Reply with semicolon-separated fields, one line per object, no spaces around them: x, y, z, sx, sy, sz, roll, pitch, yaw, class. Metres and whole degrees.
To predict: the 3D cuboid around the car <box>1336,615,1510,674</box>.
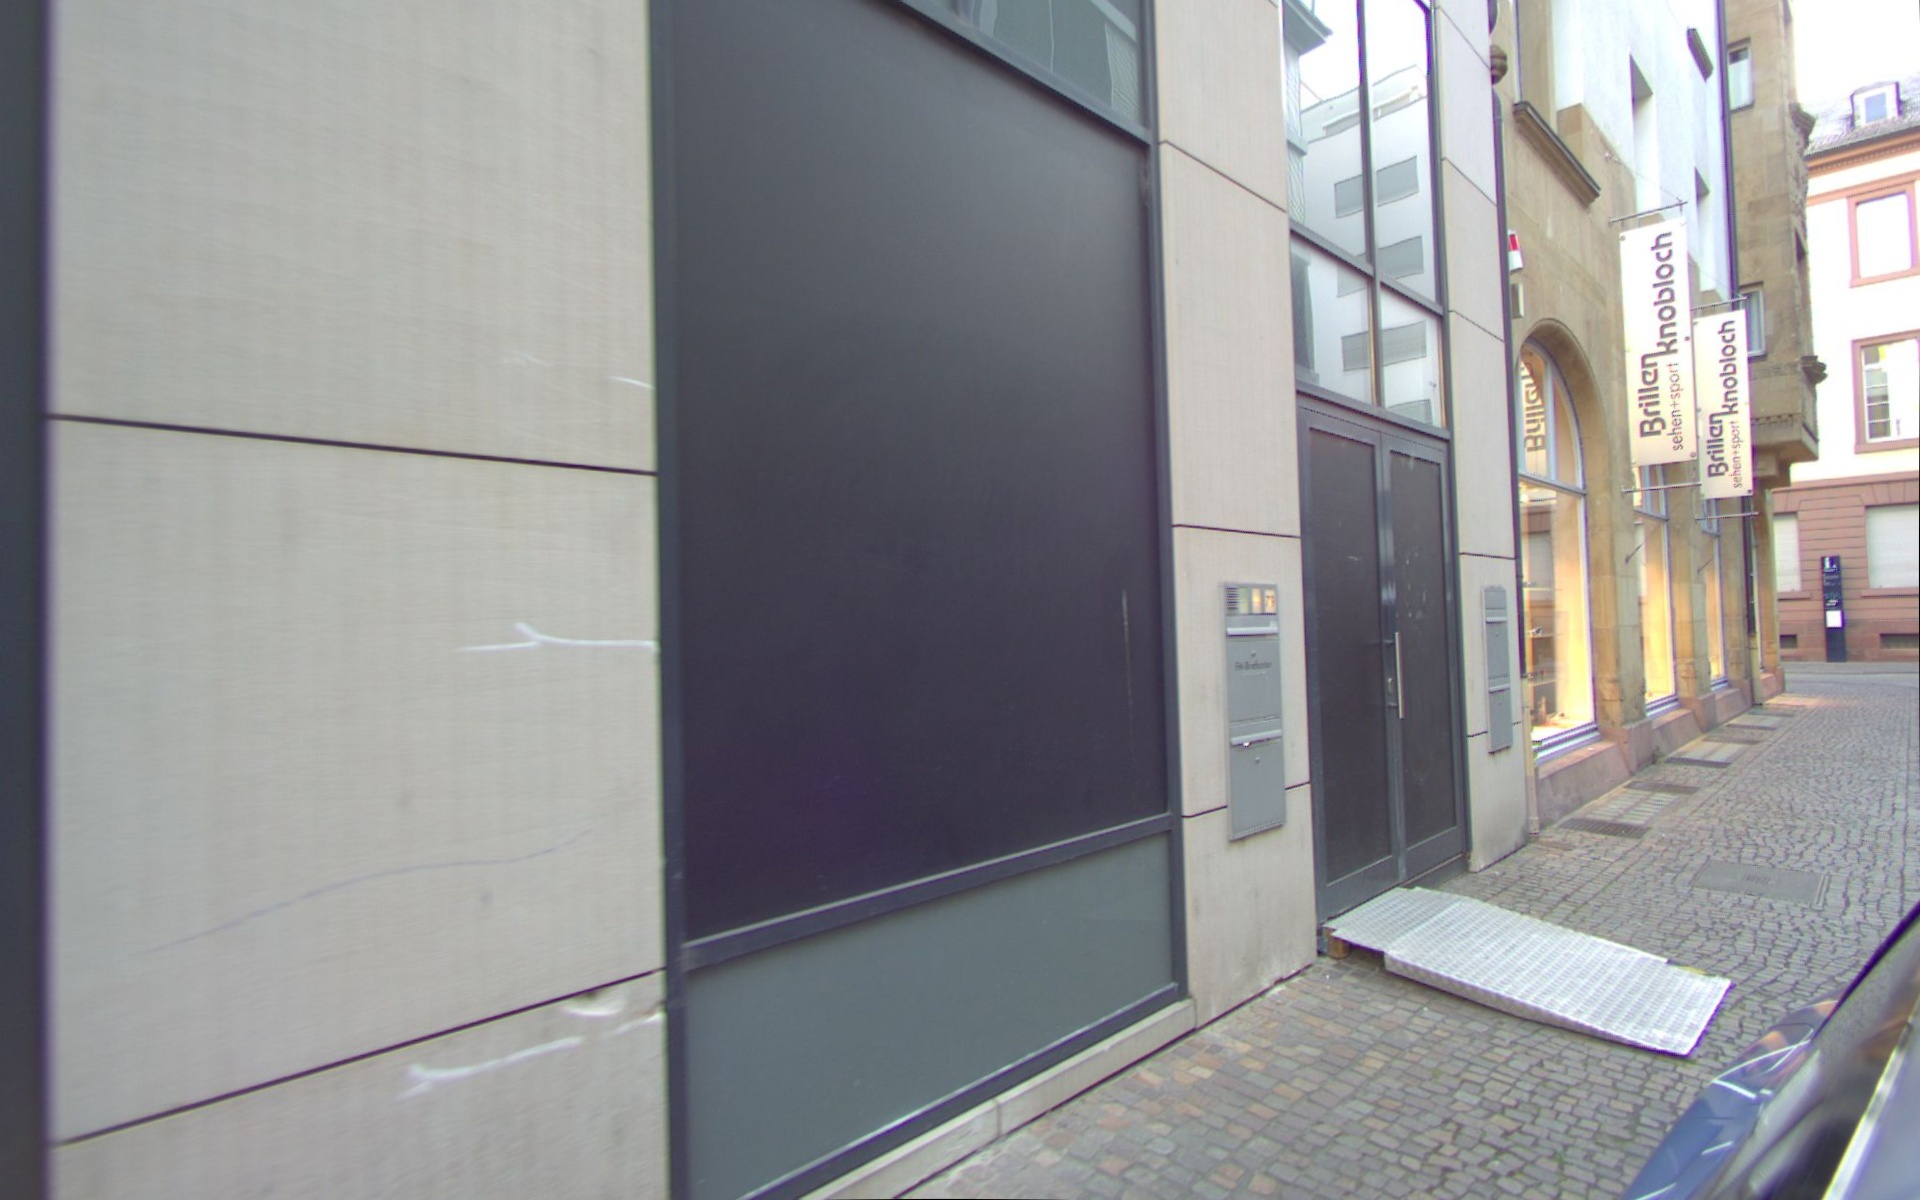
12.550;1.181;27.608;1.623;1.461;3.990;0;-1;-43;car
